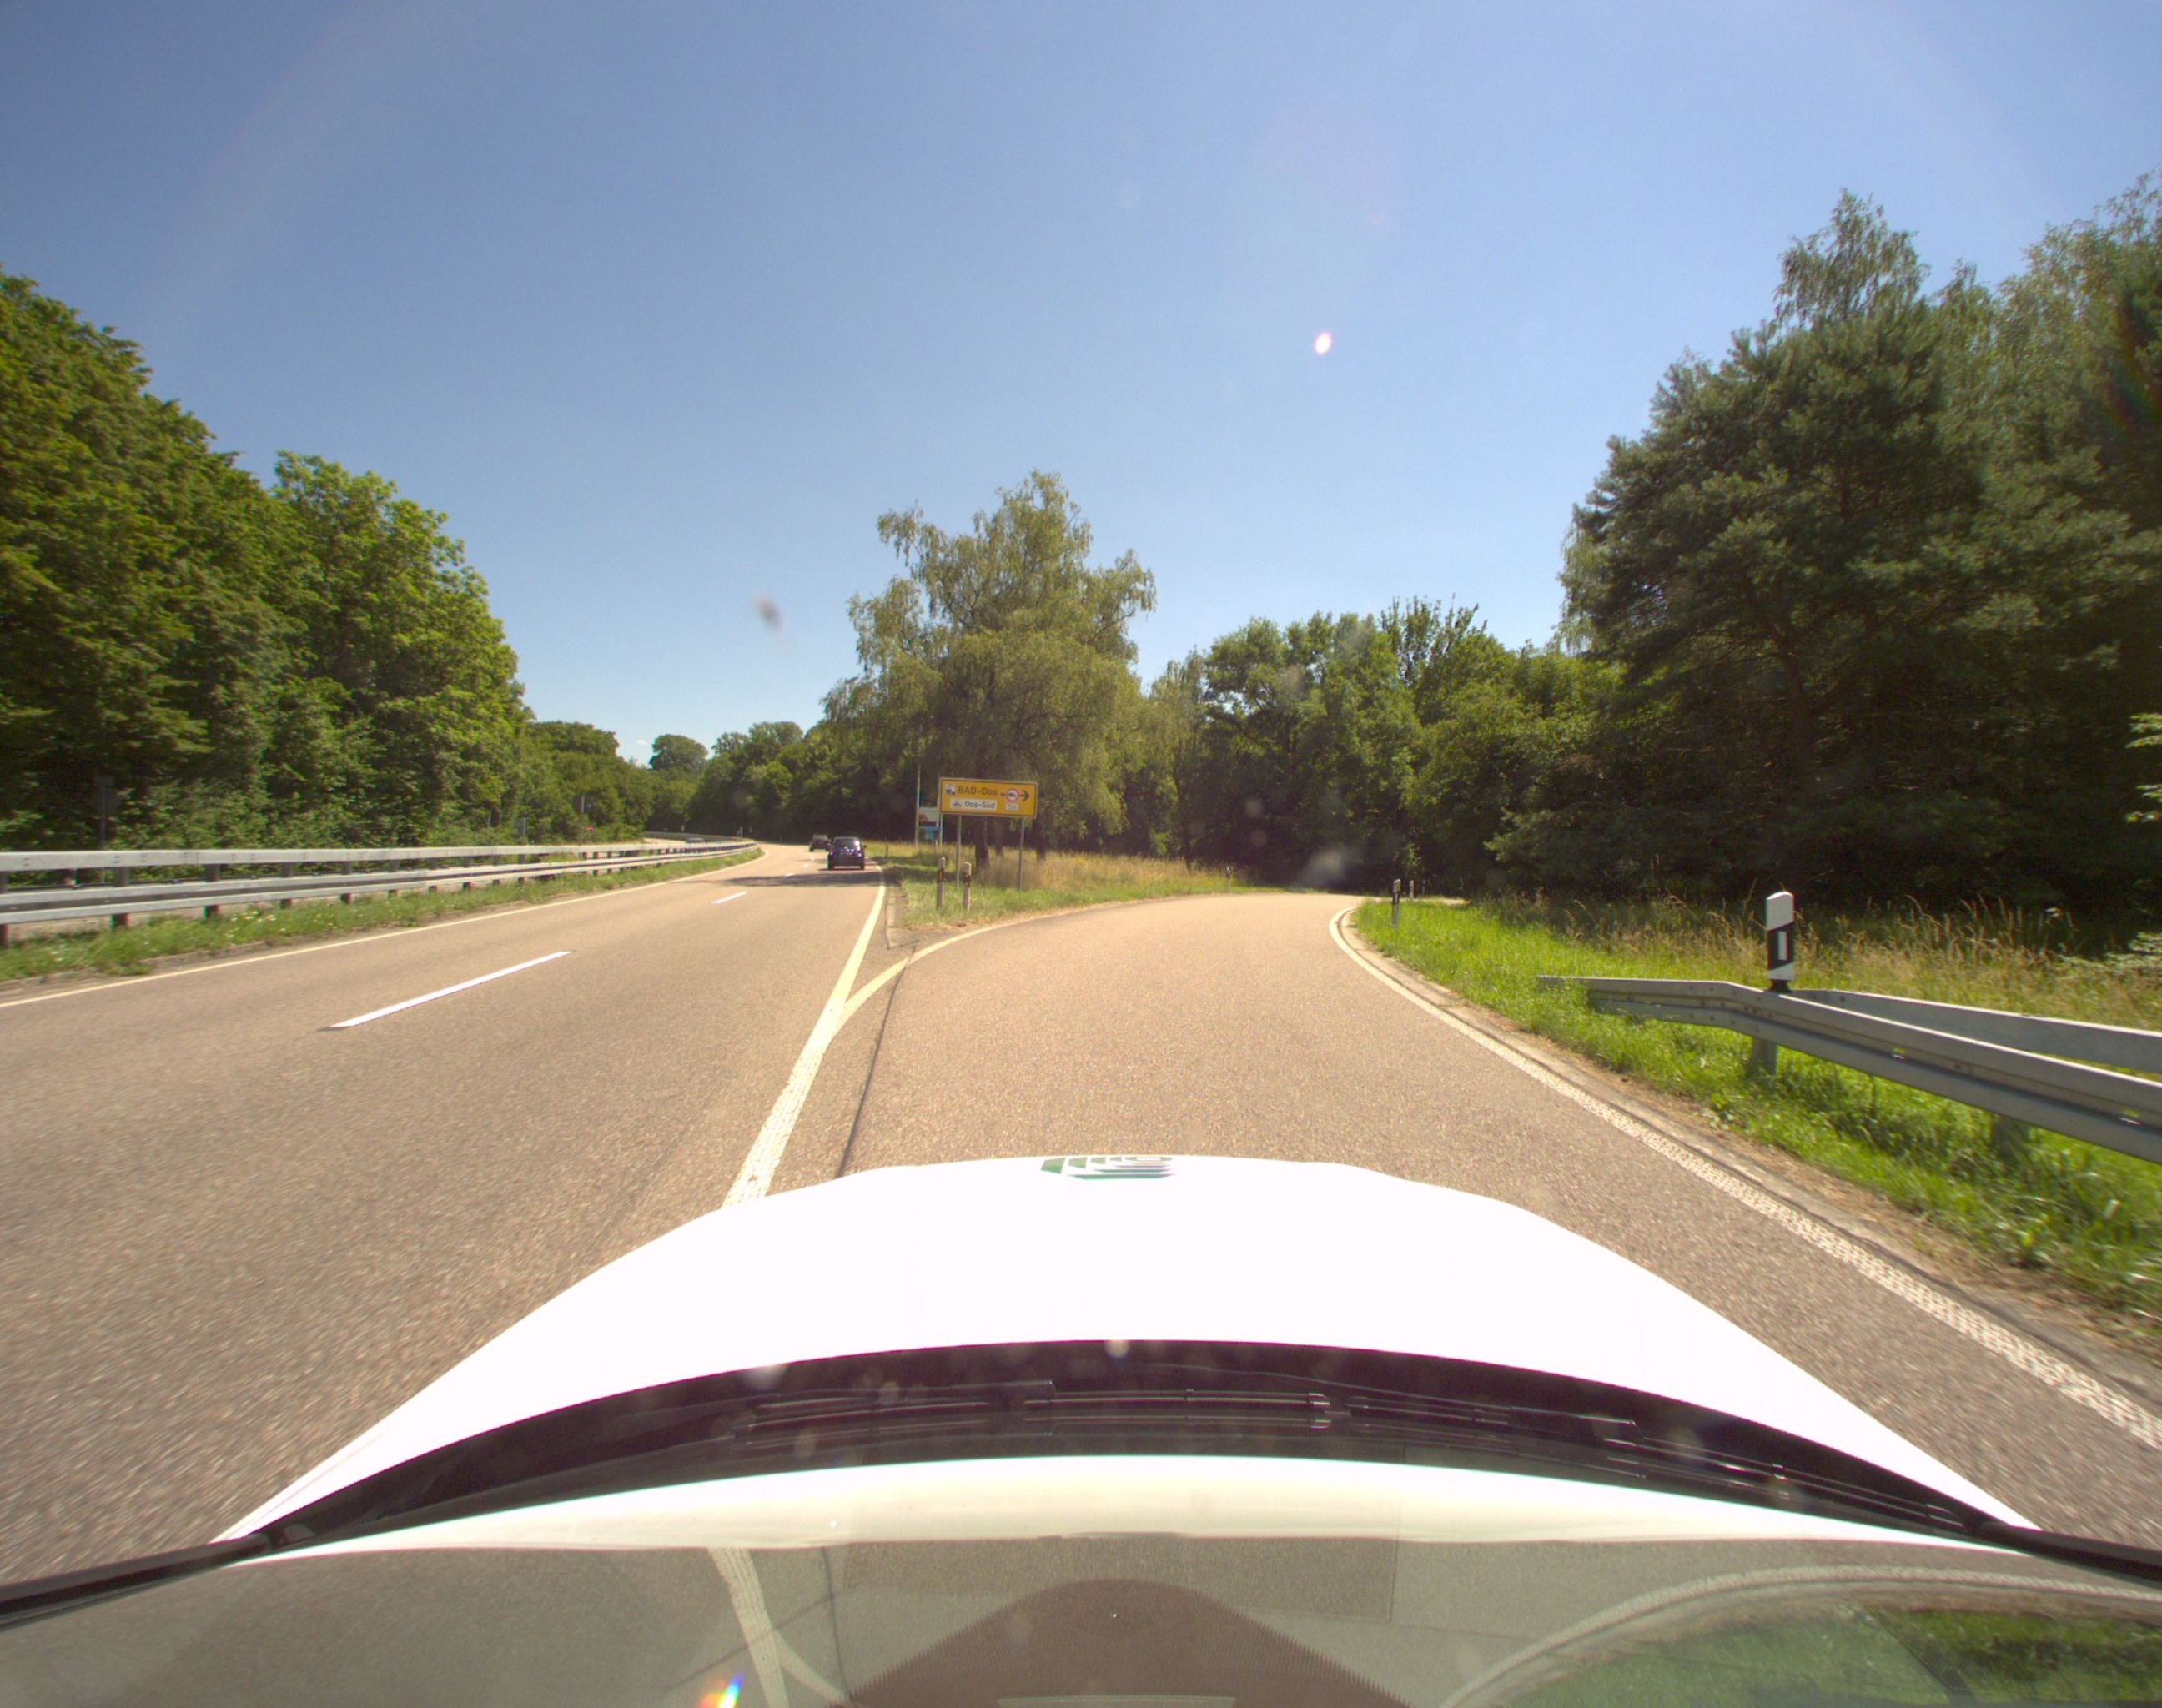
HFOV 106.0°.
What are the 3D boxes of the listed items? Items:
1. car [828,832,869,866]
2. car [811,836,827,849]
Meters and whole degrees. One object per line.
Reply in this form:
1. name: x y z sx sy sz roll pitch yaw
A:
1. car: -10.755 -0.233 37.813 1.514 1.500 3.576 0 1 -11
2. car: -26.219 -1.152 81.578 1.529 1.313 3.394 0 1 -18
